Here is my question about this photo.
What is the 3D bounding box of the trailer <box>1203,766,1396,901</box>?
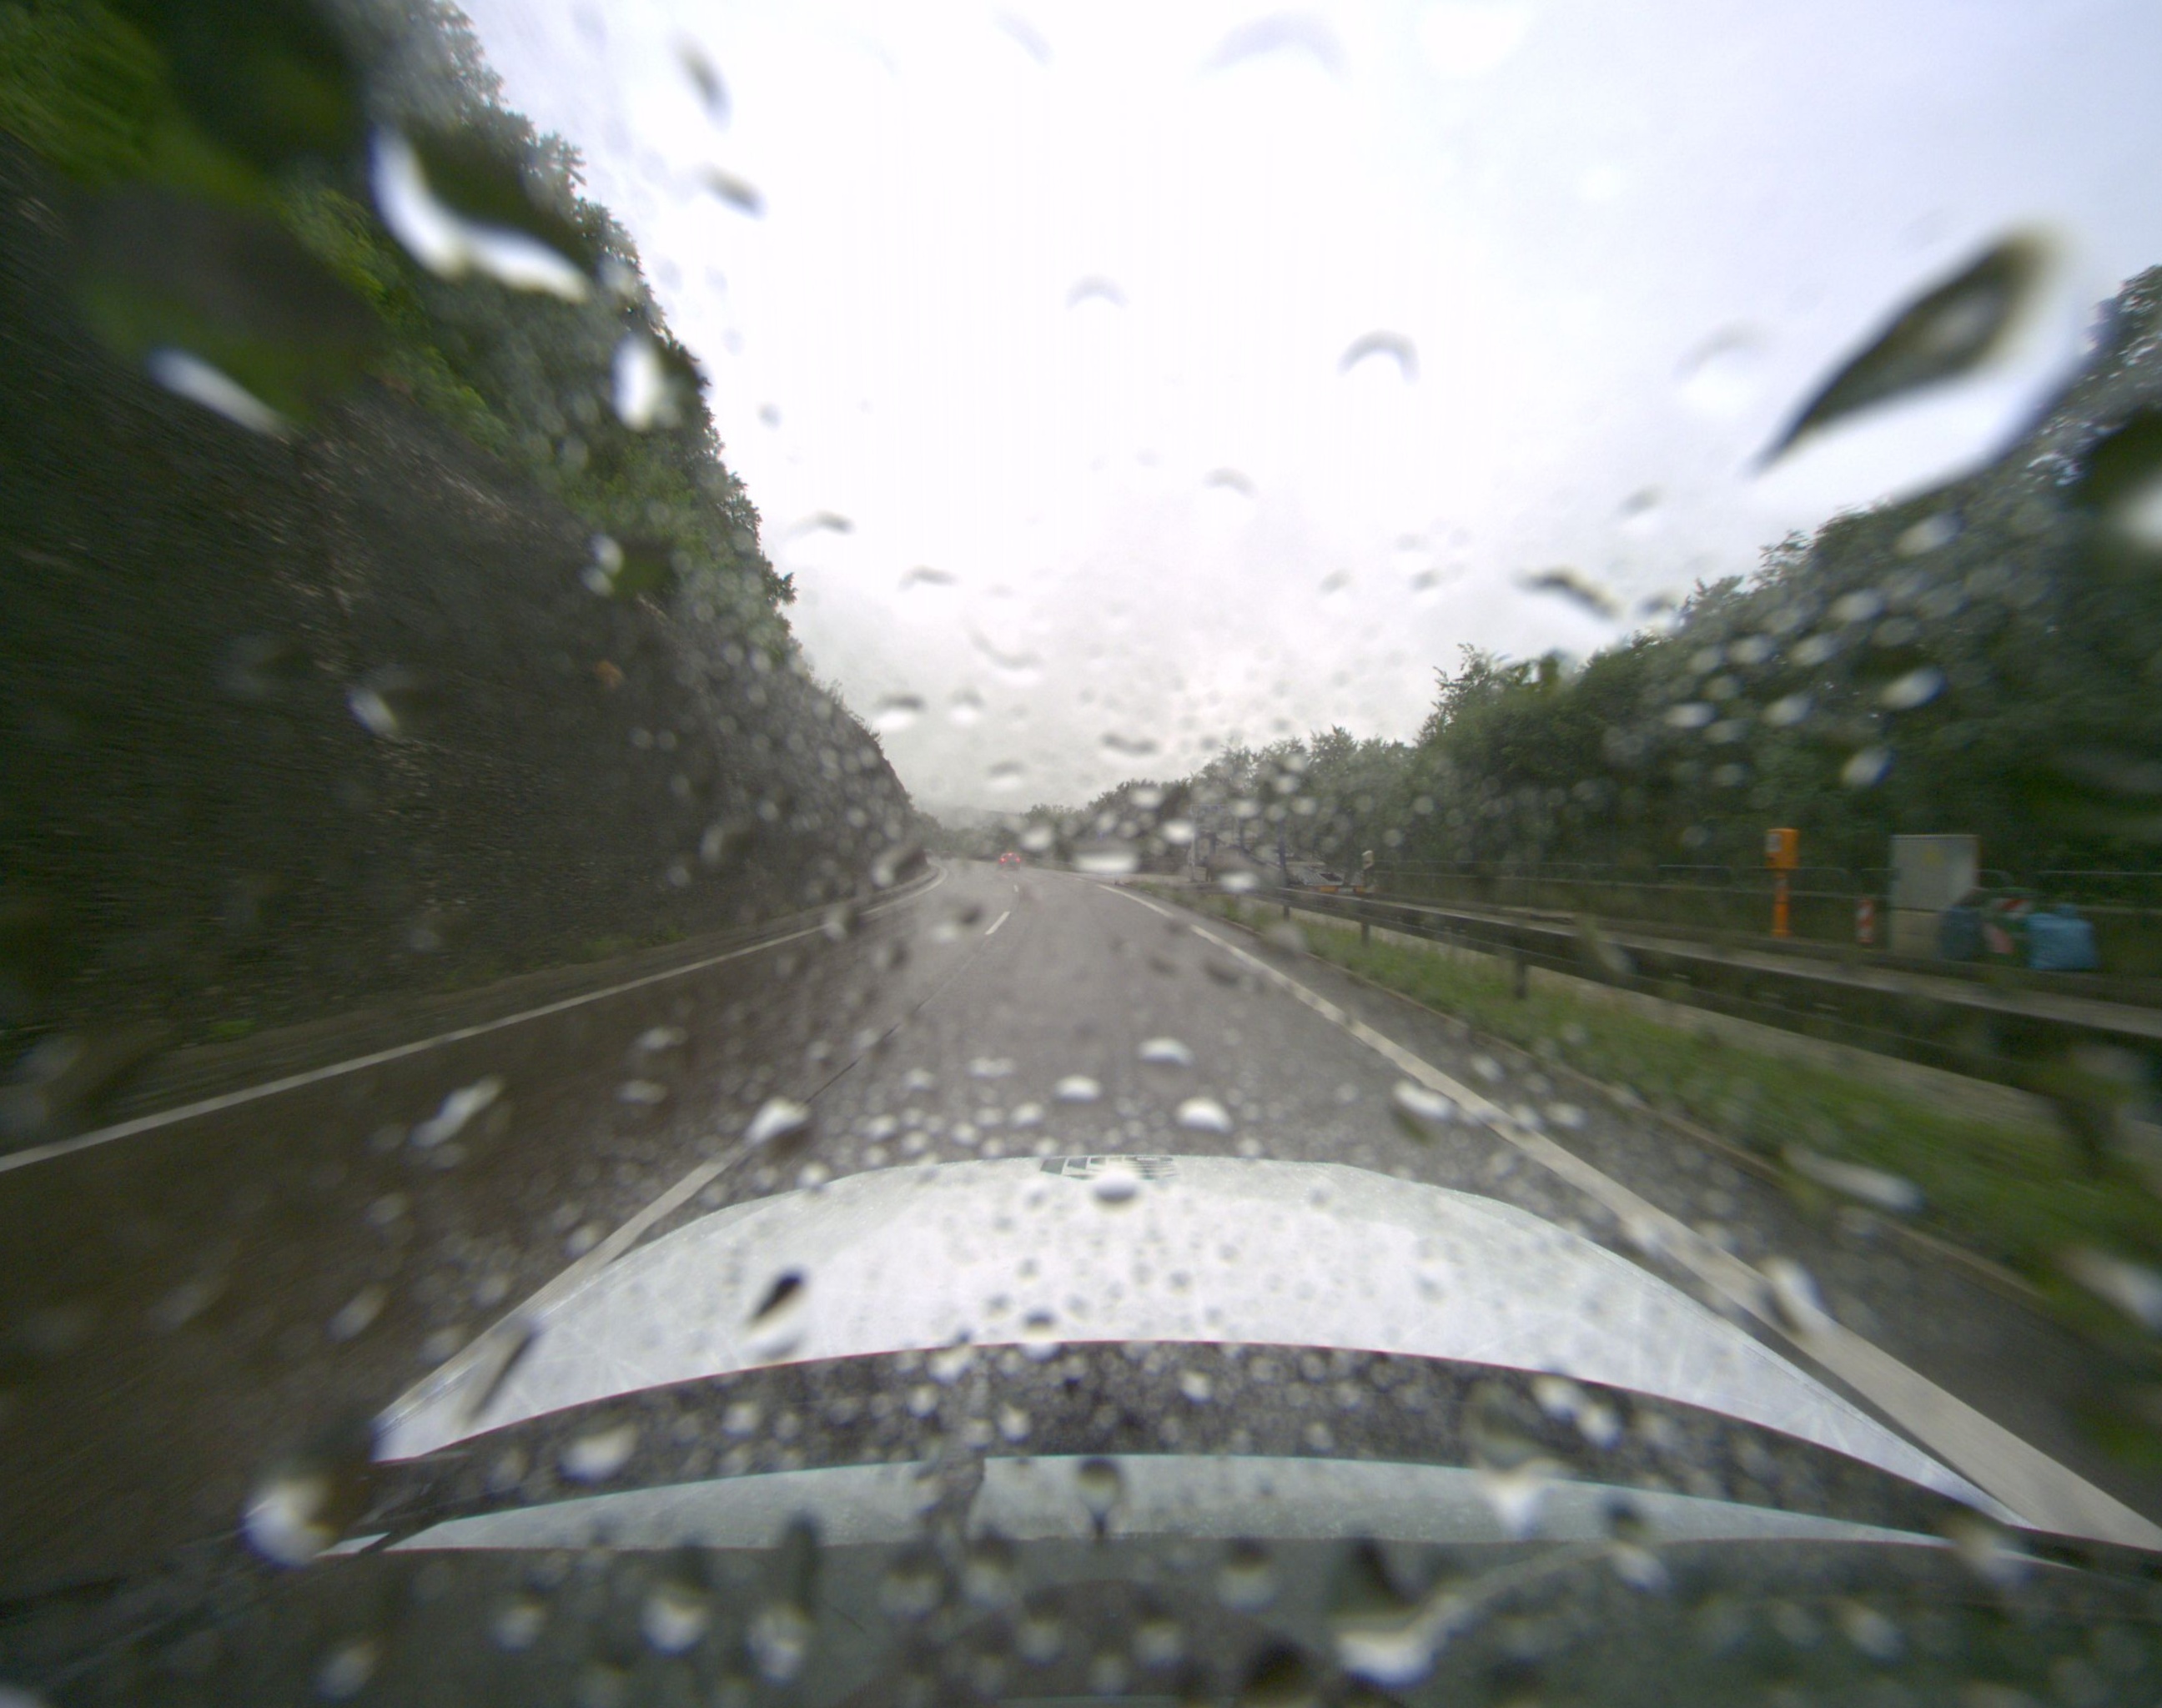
[{"bbox_3d":[8.059,-0.628,33.204,2.887,4.245,14.673,-1,0,-4],"label":"trailer"}]

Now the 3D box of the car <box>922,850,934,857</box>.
[{"bbox_3d":[-31.912,-0.125,169.974,1.908,1.499,3.977,1,0,-17],"label":"car"}]

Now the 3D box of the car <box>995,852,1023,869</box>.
[{"bbox_3d":[-6.582,0.565,74.212,1.907,1.499,3.979,1,0,-15],"label":"car"}]

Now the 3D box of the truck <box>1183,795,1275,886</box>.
[{"bbox_3d":[7.382,-0.604,41.638,2.891,4.245,6.869,-1,0,-5],"label":"truck"}]

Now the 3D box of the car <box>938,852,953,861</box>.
[{"bbox_3d":[-23.824,0.457,142.870,1.909,1.499,3.975,1,0,-19],"label":"car"}]
